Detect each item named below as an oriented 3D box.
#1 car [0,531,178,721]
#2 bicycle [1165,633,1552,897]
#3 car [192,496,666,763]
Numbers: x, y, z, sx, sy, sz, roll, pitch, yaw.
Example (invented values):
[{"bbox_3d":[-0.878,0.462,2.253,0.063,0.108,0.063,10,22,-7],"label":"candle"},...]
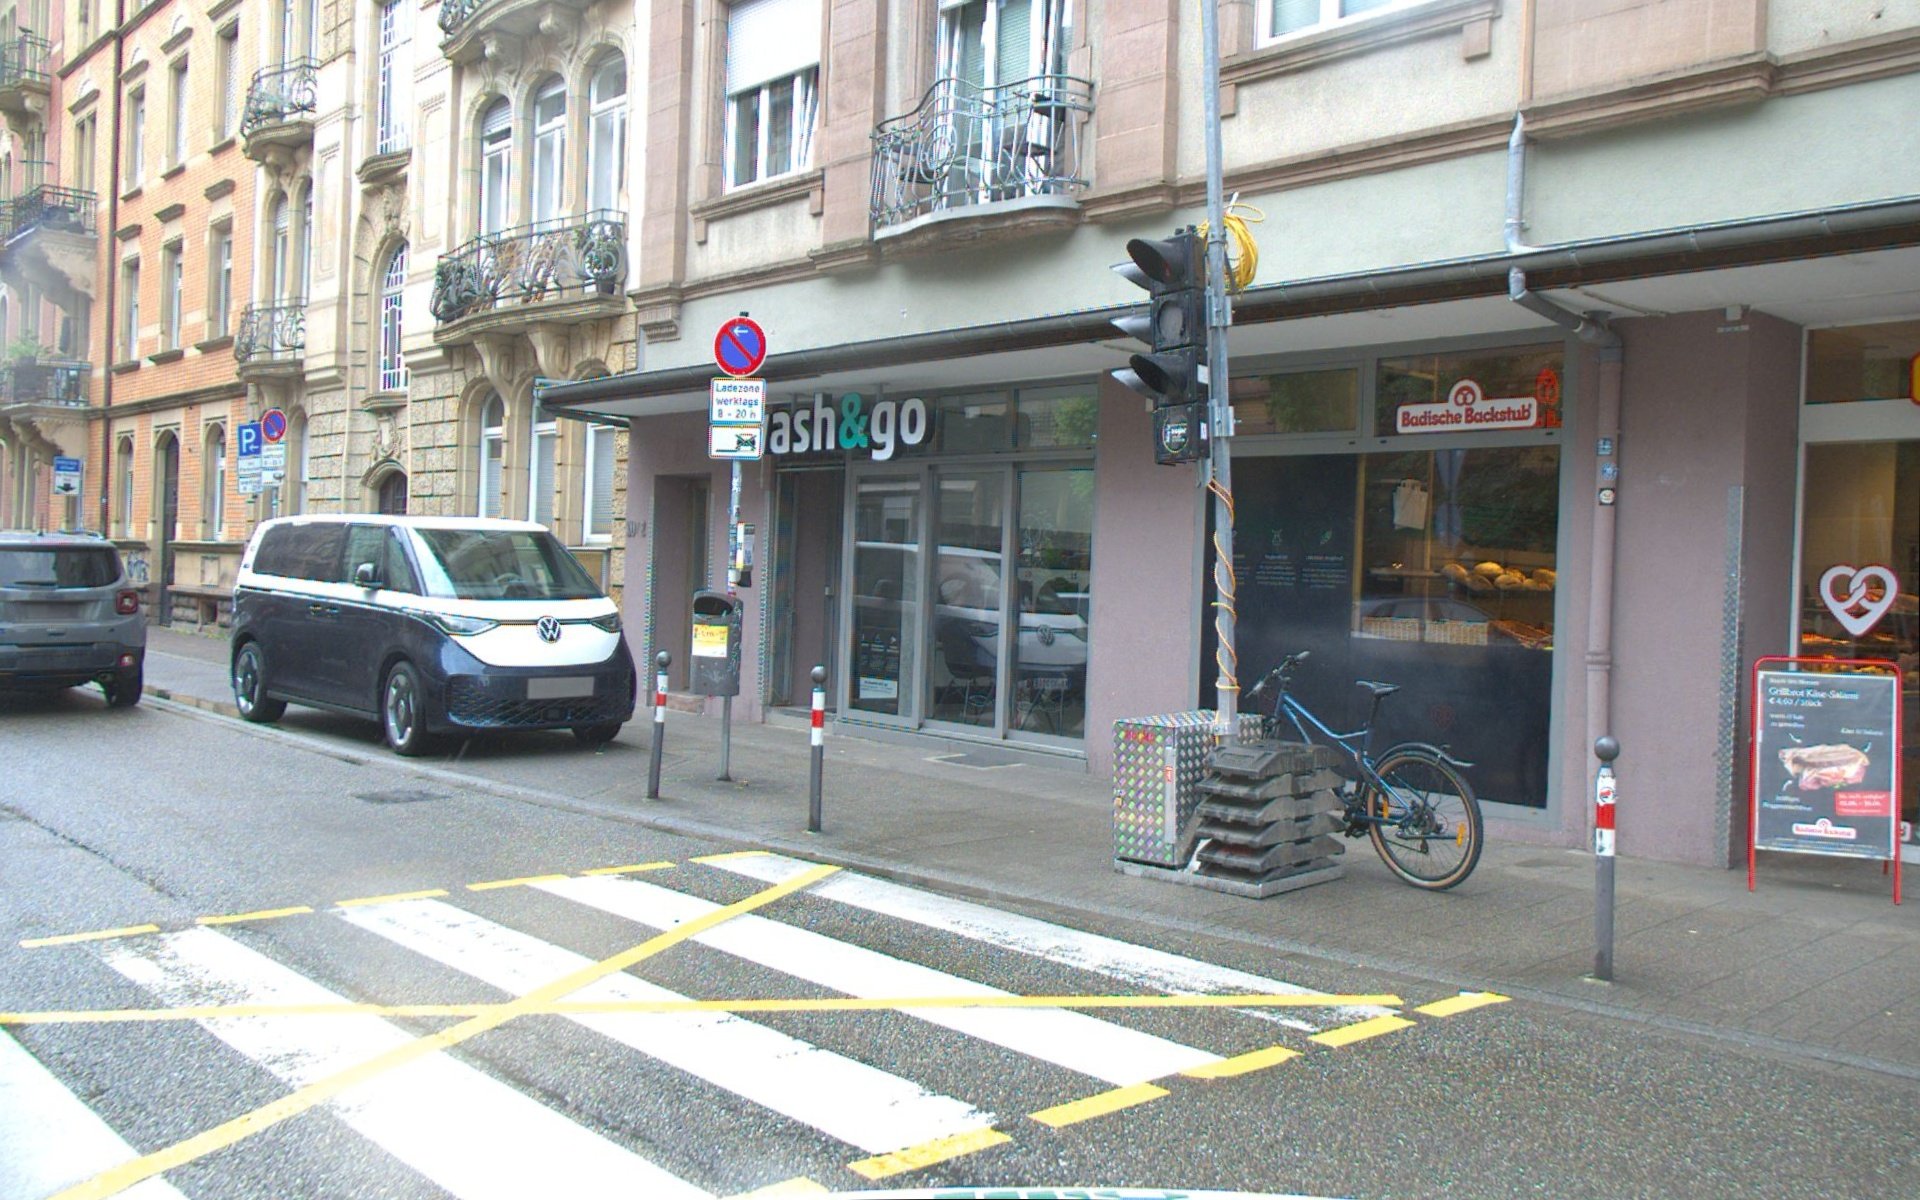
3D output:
[{"bbox_3d":[-9.653,0.168,16.787,1.889,1.700,4.436,0,2,-42],"label":"car"},{"bbox_3d":[2.032,0.794,8.658,0.621,1.147,1.906,1,1,-45],"label":"bicycle"},{"bbox_3d":[-4.905,0.134,14.765,1.985,1.972,5.146,-1,2,-44],"label":"car"}]
